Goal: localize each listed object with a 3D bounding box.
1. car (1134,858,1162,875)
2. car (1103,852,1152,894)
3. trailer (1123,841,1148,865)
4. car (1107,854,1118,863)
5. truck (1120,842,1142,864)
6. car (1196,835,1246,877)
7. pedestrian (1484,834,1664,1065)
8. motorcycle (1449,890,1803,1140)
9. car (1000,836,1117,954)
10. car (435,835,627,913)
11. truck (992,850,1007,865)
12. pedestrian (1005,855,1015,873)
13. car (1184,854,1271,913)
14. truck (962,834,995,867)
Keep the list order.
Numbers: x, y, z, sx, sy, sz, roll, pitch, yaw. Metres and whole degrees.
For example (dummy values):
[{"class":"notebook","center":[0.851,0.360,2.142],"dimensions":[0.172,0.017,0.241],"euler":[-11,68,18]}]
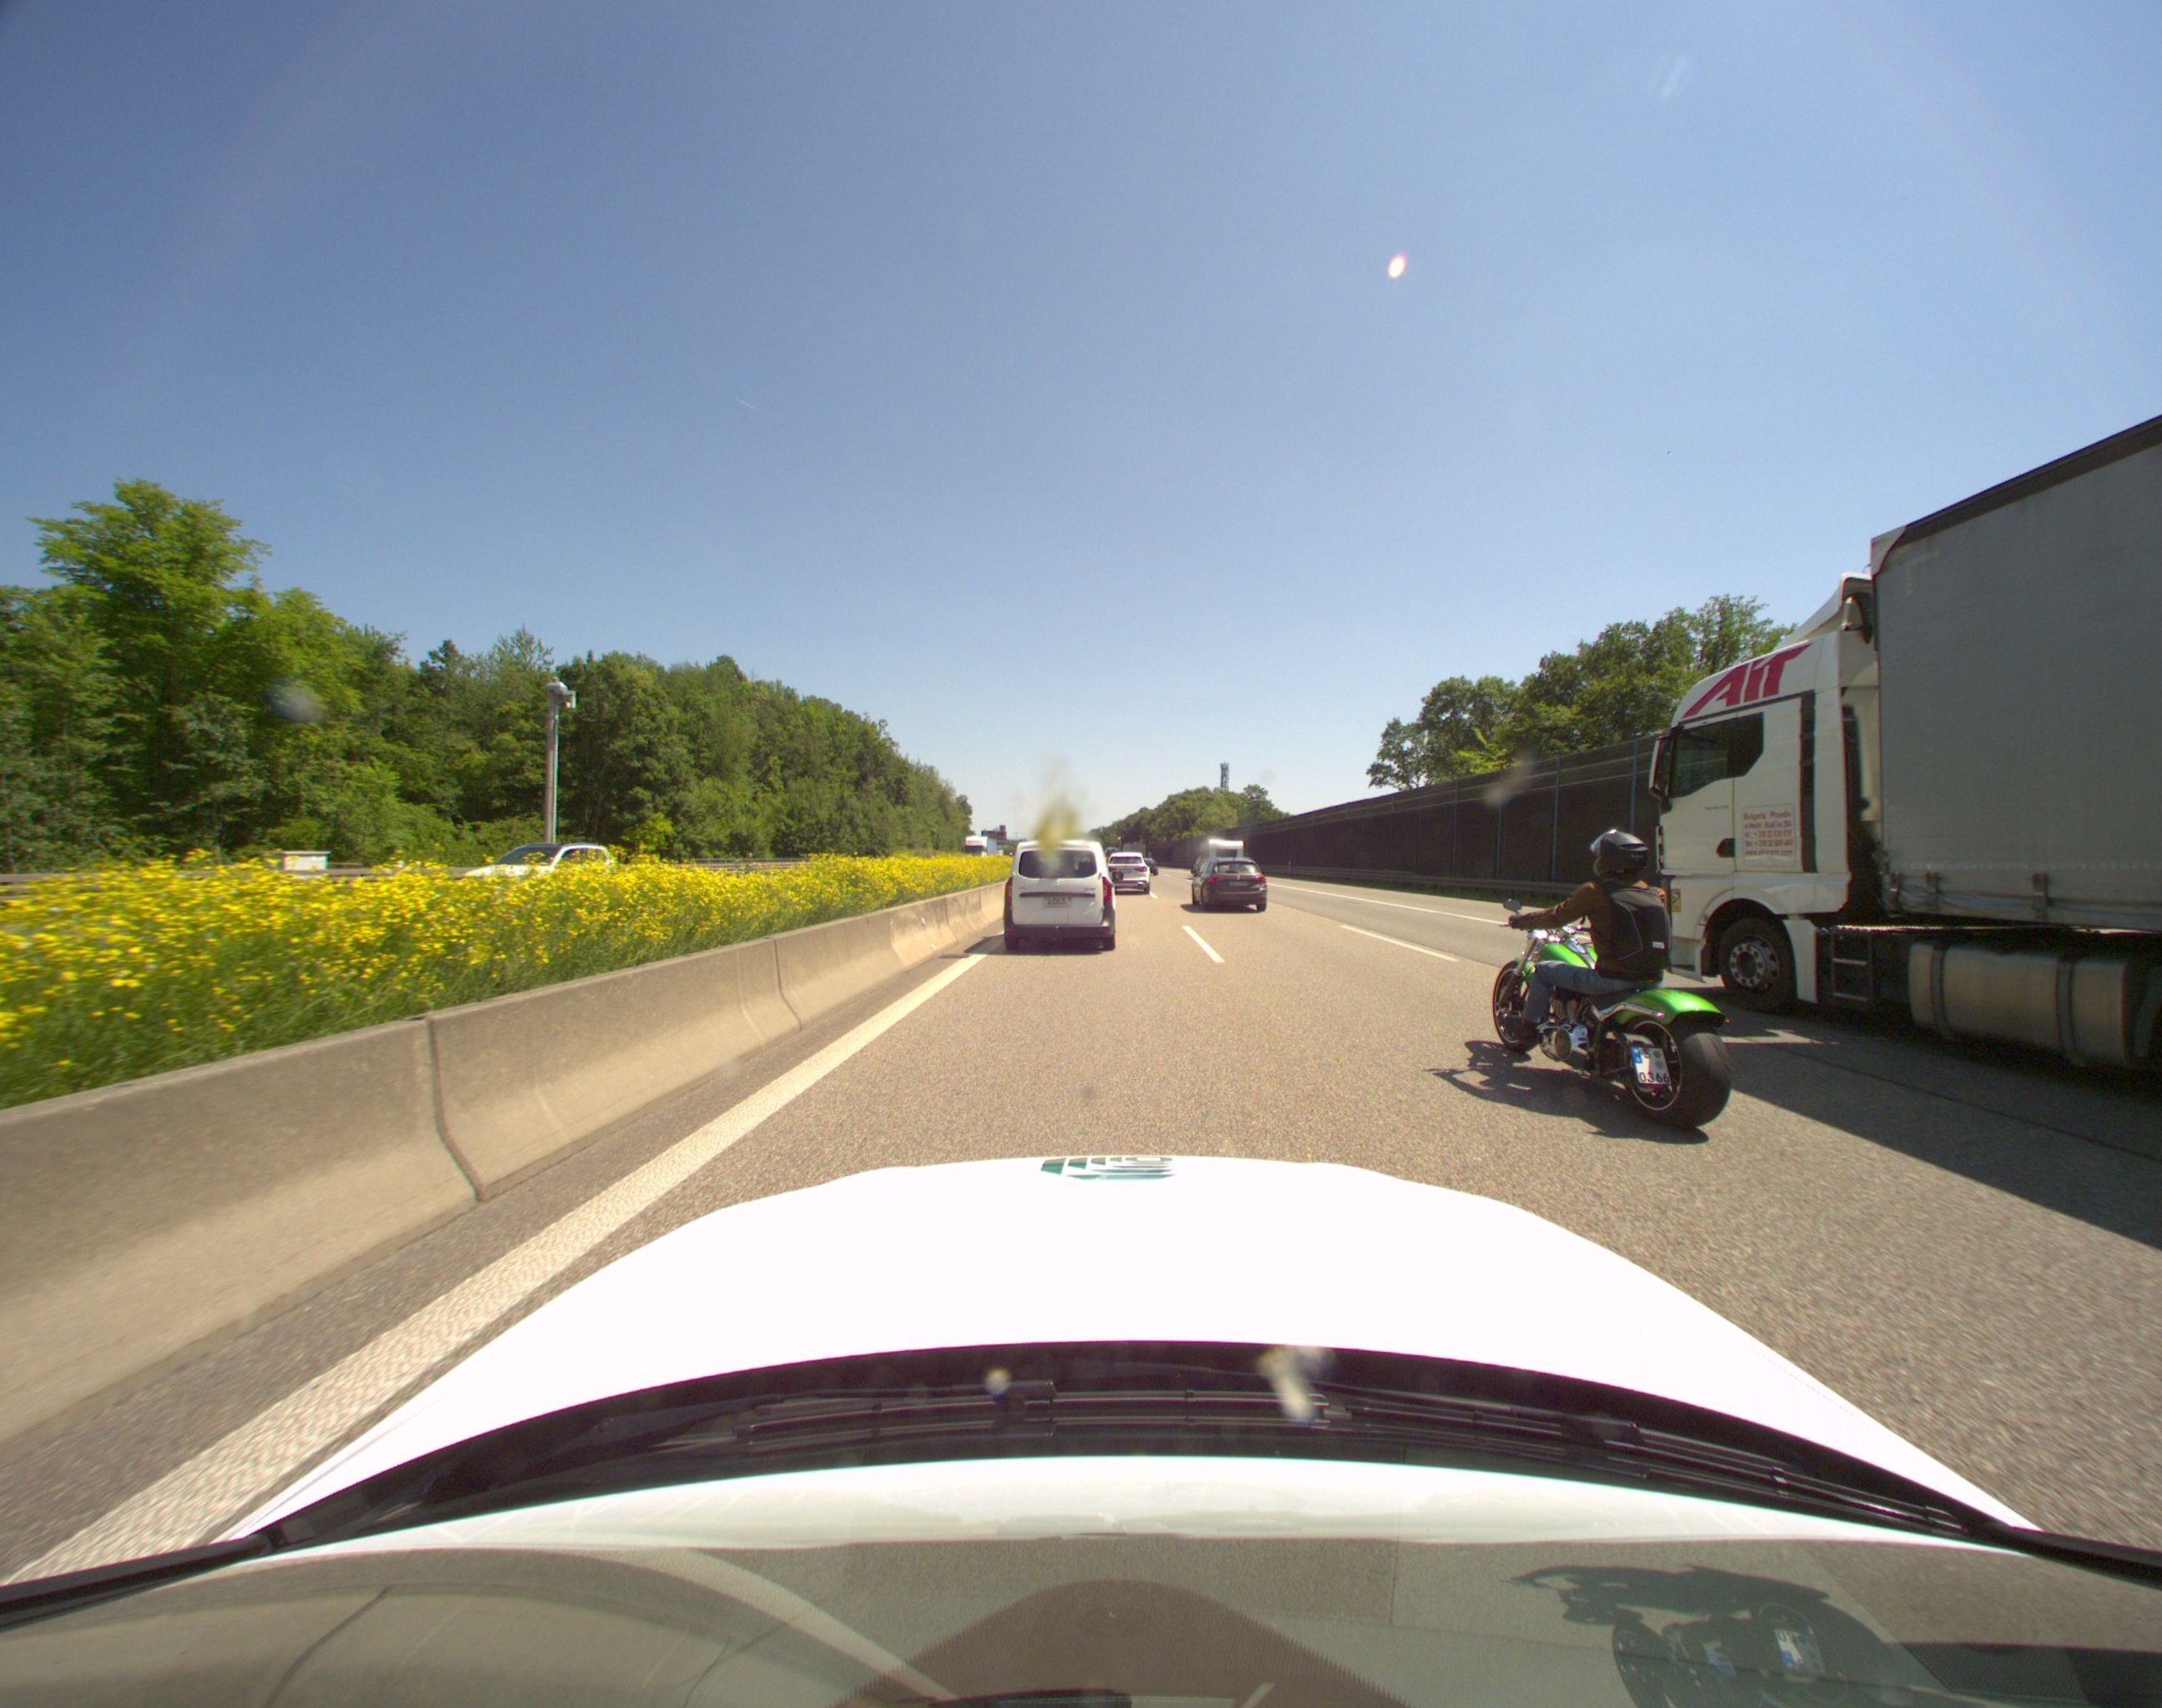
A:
[{"class":"car","center":[5.572,1.021,67.770],"dimensions":[1.820,1.424,3.996],"euler":[0,-1,-3]},{"class":"car","center":[1.866,0.749,33.672],"dimensions":[1.864,1.608,3.880],"euler":[0,0,1]},{"class":"trailer","center":[9.282,-0.162,140.153],"dimensions":[3.075,3.986,10.311],"euler":[0,-1,-3]},{"class":"car","center":[7.131,0.985,184.856],"dimensions":[1.989,2.014,3.996],"euler":[0,-1,-3]},{"class":"truck","center":[9.028,-0.145,147.801],"dimensions":[3.075,3.986,9.635],"euler":[0,-1,-3]},{"class":"car","center":[9.639,0.195,56.663],"dimensions":[2.470,2.766,6.220],"euler":[0,-1,1]},{"class":"pedestrian","center":[3.333,0.614,5.564],"dimensions":[0.848,1.479,0.638],"euler":[0,0,1]},{"class":"motorcycle","center":[3.323,0.876,5.334],"dimensions":[0.856,1.182,2.277],"euler":[0,0,2]},{"class":"car","center":[-0.288,0.651,14.541],"dimensions":[1.796,1.808,4.001],"euler":[0,-1,1]},{"class":"car","center":[-13.834,0.466,20.857],"dimensions":[1.875,1.765,4.323],"euler":[0,0,2]},{"class":"truck","center":[-19.322,0.722,193.159],"dimensions":[2.726,3.475,7.314],"euler":[0,0,0]},{"class":"pedestrian","center":[-5.531,0.755,63.413],"dimensions":[0.659,1.365,0.532],"euler":[0,0,1]},{"class":"car","center":[4.122,0.779,23.574],"dimensions":[1.831,1.513,4.403],"euler":[0,0,1]},{"class":"truck","center":[-12.371,-0.376,98.810],"dimensions":[2.738,3.857,8.415],"euler":[0,0,1]}]
